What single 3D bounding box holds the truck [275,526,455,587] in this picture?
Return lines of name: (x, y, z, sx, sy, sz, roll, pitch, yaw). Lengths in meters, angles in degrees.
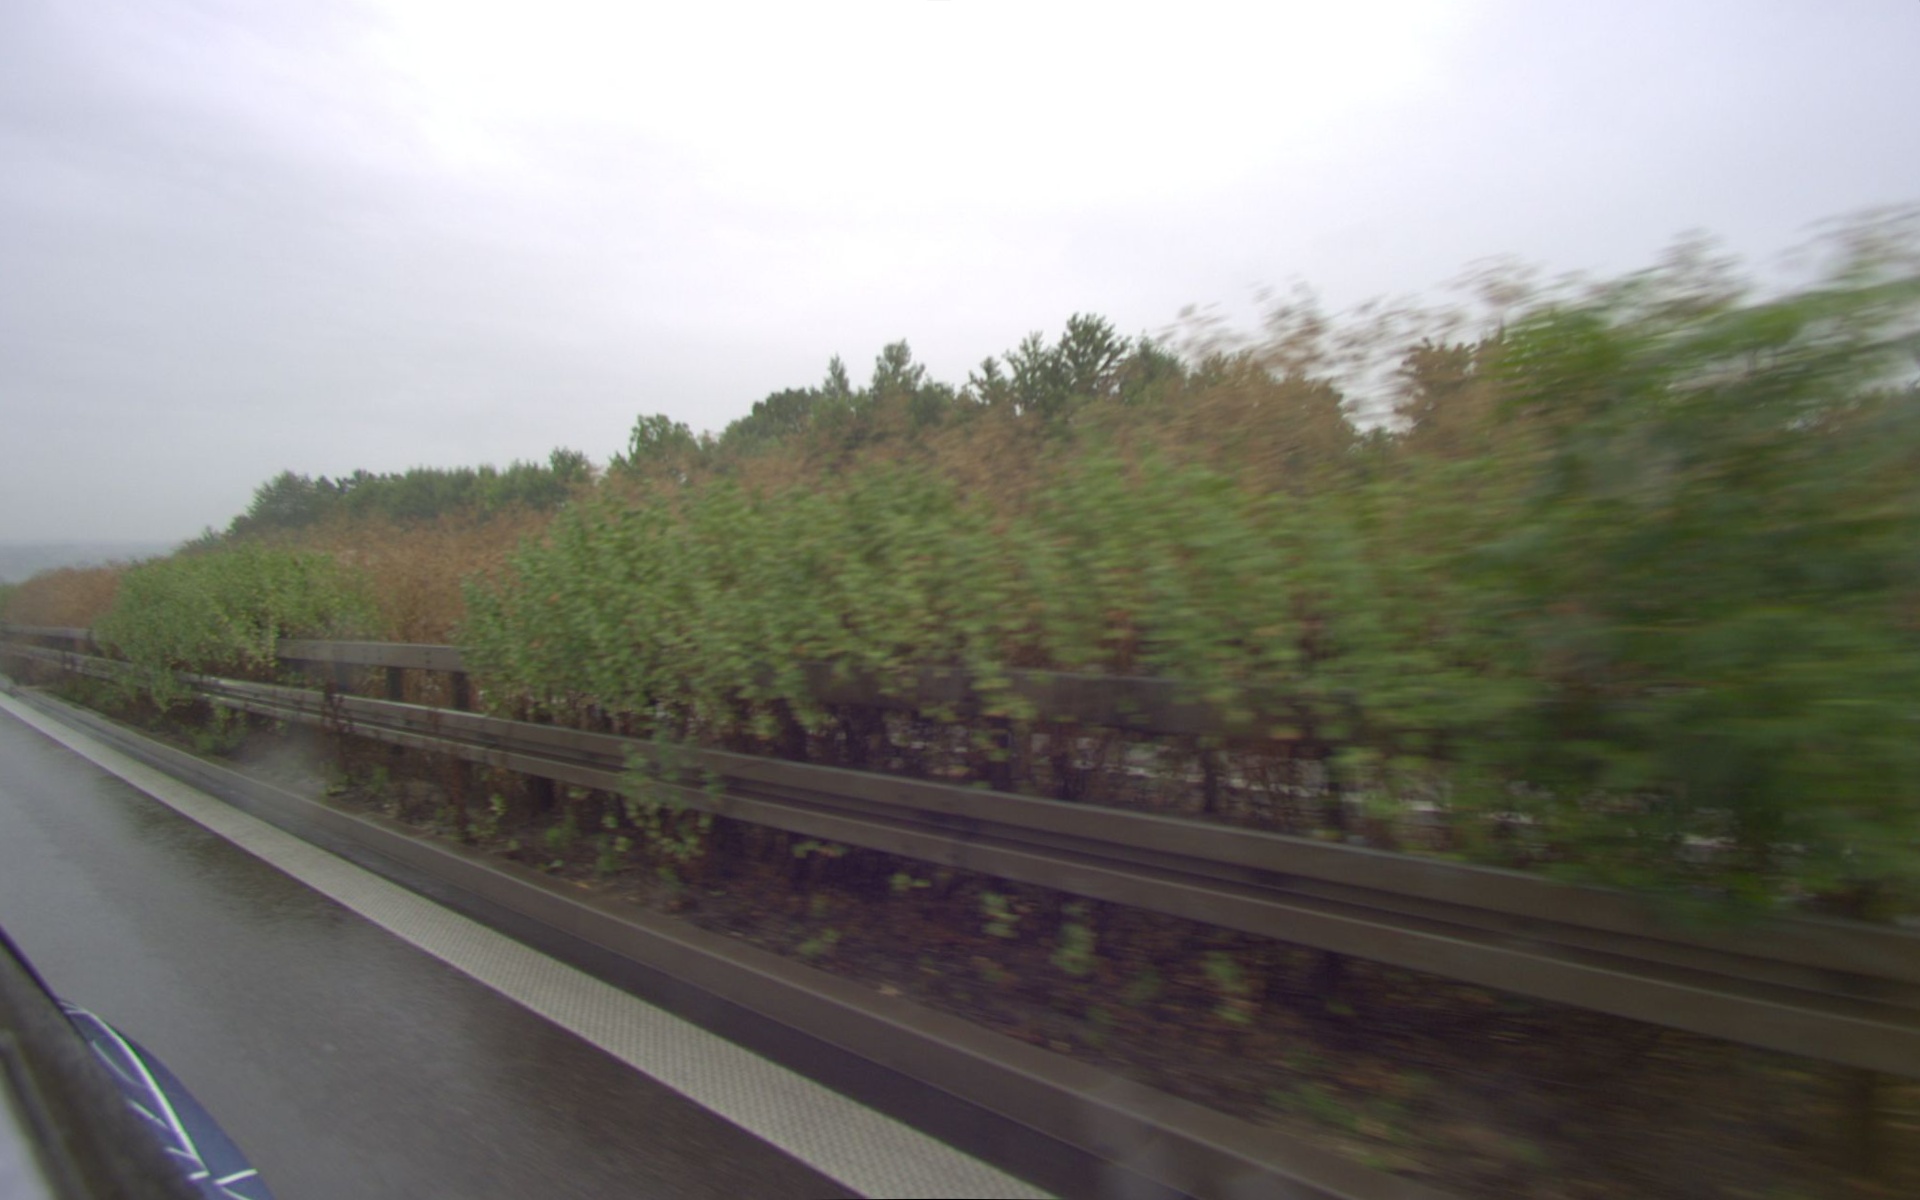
truck: (-29.764, -1.956, 49.954, 16.079, 2.336, 3.128, -1, 0, 43)
